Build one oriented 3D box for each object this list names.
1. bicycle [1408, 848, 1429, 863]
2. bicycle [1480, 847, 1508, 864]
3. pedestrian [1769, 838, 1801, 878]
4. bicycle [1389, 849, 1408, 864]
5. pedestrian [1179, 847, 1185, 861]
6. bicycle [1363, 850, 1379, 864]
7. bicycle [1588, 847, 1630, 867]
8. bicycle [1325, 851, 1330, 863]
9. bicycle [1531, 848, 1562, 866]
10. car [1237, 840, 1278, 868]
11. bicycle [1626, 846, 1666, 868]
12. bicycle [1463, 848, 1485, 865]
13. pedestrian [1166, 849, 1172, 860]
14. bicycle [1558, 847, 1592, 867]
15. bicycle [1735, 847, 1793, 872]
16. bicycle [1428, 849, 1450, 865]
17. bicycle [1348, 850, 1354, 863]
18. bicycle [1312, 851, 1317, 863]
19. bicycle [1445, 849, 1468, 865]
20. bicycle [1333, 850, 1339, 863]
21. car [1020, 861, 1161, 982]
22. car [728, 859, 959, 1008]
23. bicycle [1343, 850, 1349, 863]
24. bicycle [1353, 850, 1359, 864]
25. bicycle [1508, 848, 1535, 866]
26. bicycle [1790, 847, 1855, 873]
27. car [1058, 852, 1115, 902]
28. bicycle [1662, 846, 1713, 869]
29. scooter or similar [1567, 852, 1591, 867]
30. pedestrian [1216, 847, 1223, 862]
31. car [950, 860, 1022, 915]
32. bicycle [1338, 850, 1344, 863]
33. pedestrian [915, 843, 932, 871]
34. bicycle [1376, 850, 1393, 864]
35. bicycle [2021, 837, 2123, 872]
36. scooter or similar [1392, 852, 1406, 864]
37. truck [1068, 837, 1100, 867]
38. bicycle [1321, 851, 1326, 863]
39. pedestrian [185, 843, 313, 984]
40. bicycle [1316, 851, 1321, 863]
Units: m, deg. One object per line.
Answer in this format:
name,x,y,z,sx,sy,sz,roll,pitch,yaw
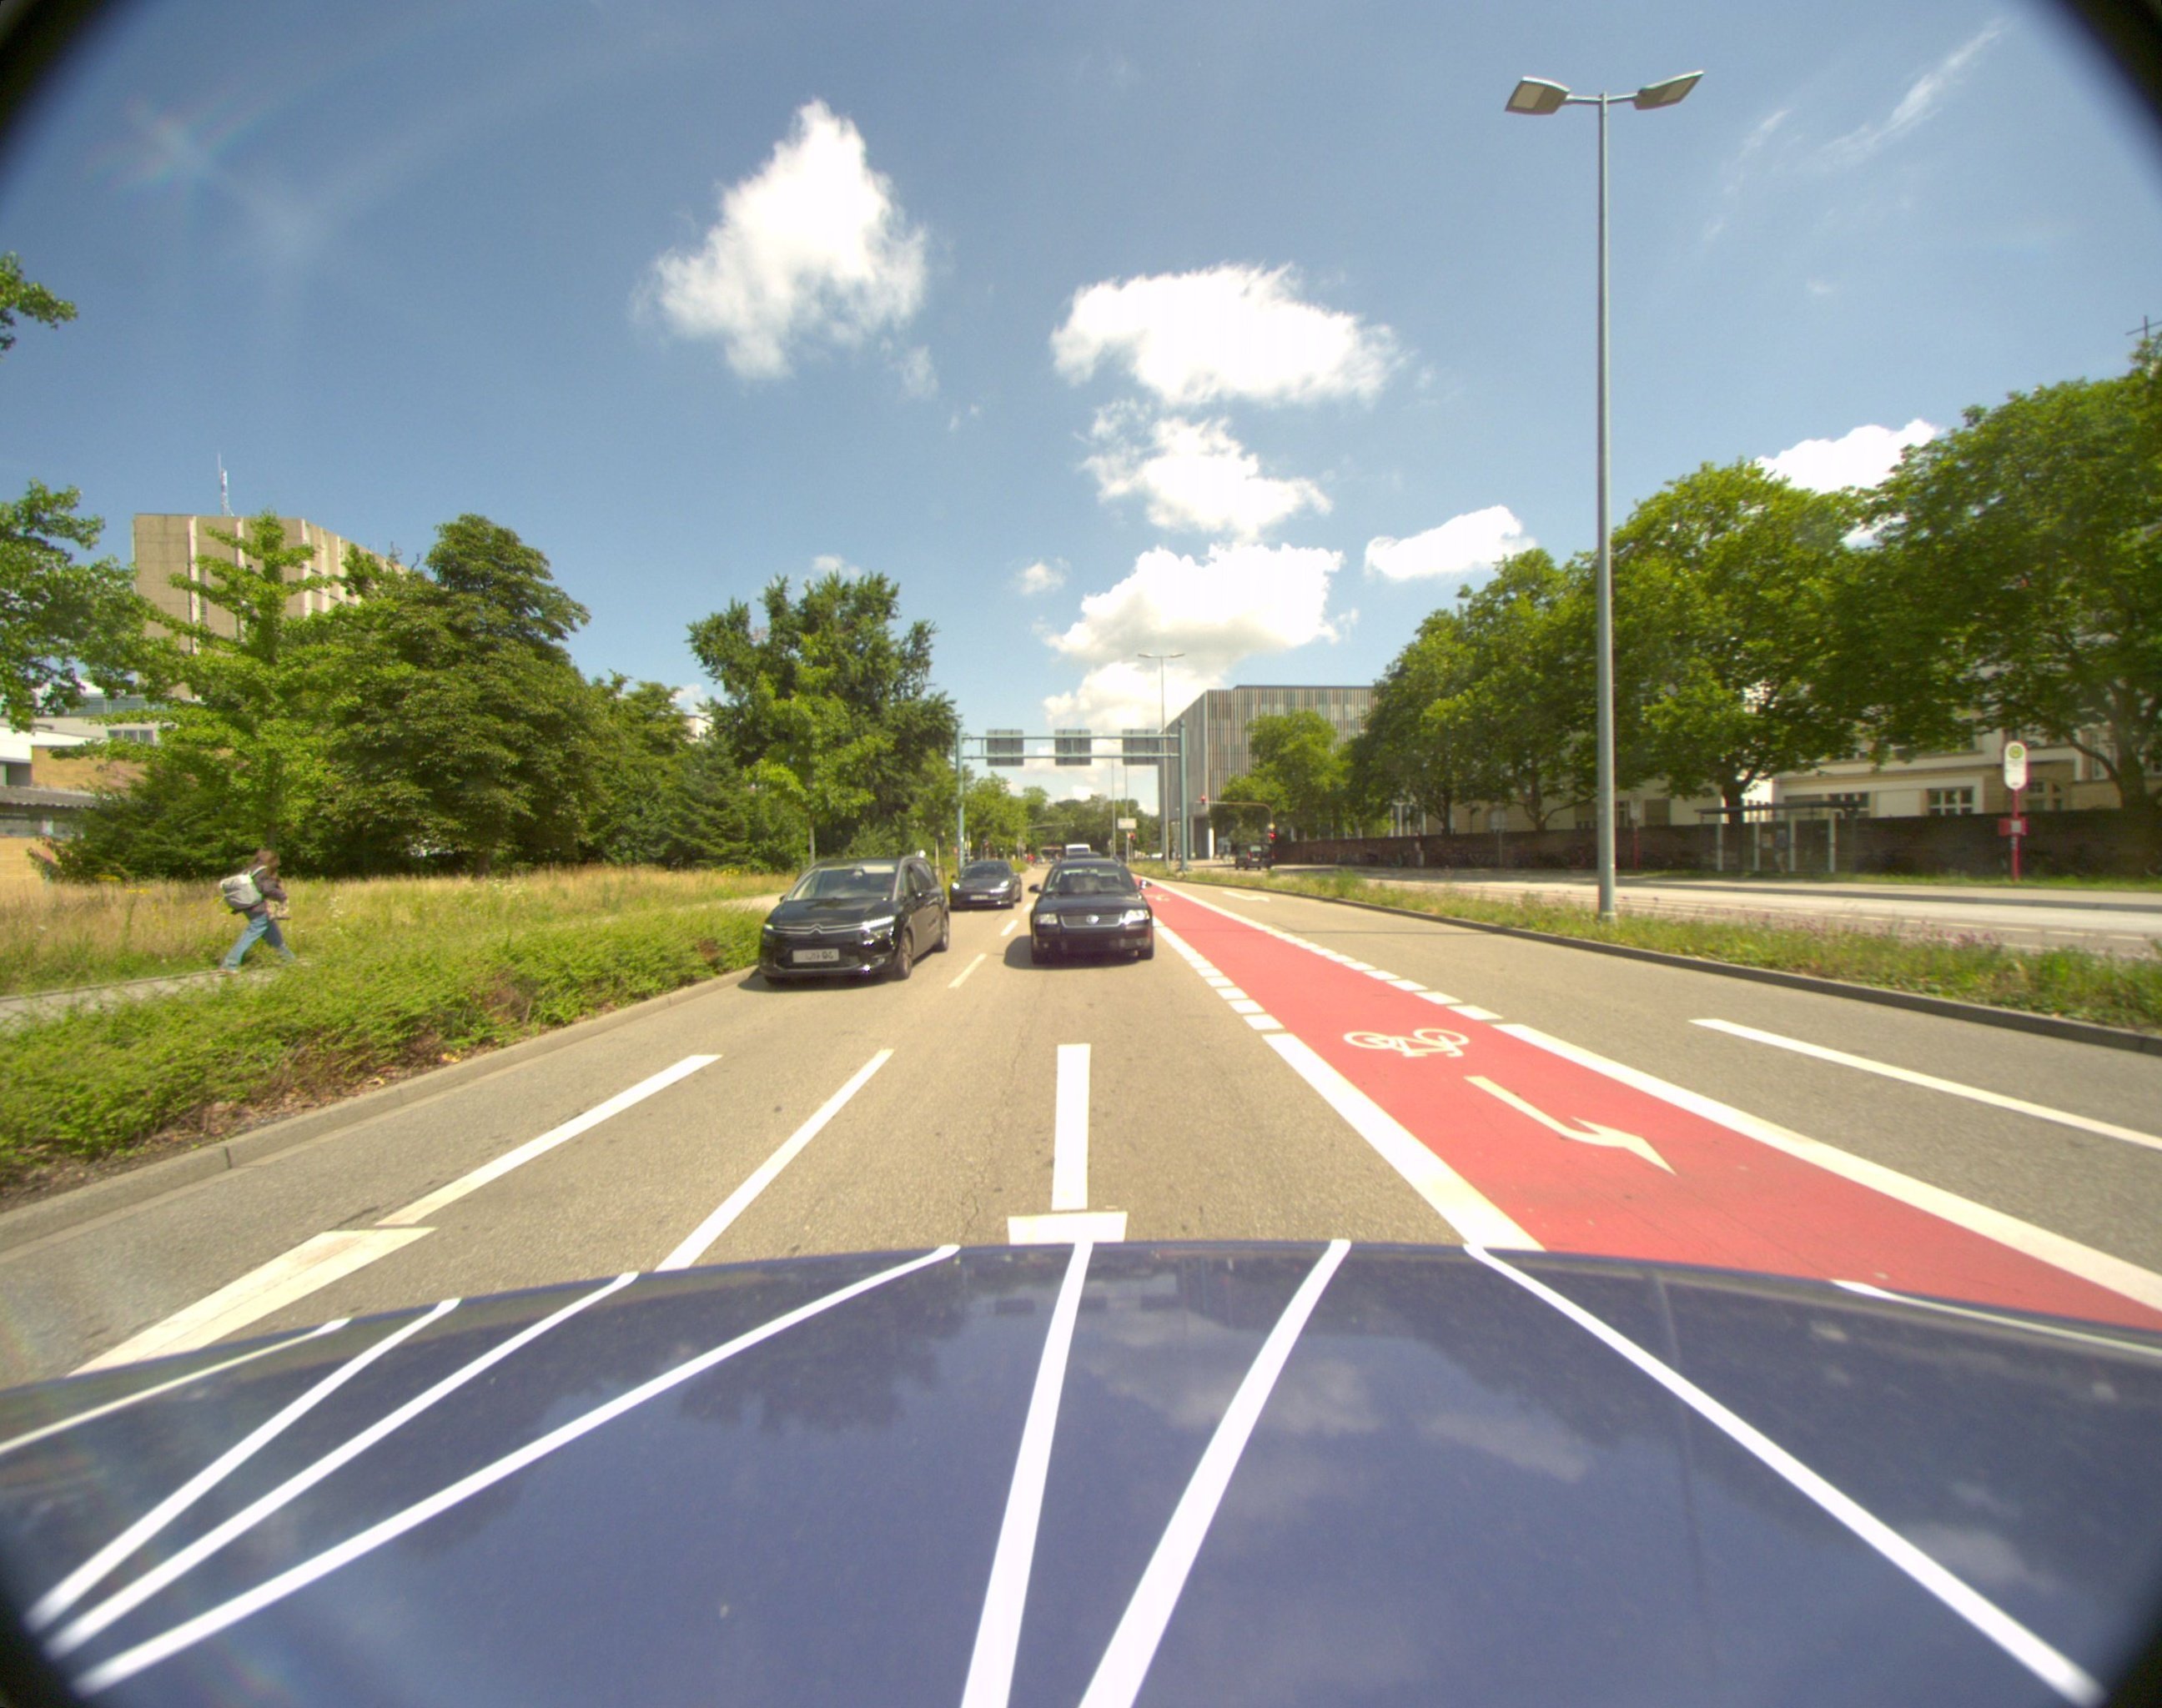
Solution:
bicycle,23.877,0.110,53.766,0.383,1.037,1.668,-1,1,-13
bicycle,25.556,0.103,47.069,0.398,1.037,1.759,-1,1,-15
pedestrian,28.889,0.149,31.195,0.724,1.602,0.779,-2,1,-30
bicycle,23.520,0.188,56.352,0.383,1.101,1.668,-1,1,-13
pedestrian,14.024,-0.017,105.882,0.632,1.907,0.718,-3,2,-4
bicycle,22.875,0.234,60.027,0.383,1.101,1.669,-1,1,-10
bicycle,27.589,0.148,39.733,0.398,1.037,1.955,-1,1,-17
bicycle,21.647,0.259,66.739,0.329,1.012,1.673,-1,1,21
bicycle,26.551,0.184,43.361,0.398,0.998,1.759,-1,1,-15
car,13.877,-0.025,60.113,2.214,2.158,4.520,0,0,0
bicycle,28.212,0.152,37.961,0.398,1.037,1.637,-1,1,-20
bicycle,25.145,0.142,48.648,0.378,1.037,1.415,-1,1,-15
pedestrian,14.970,0.125,129.065,0.715,1.906,0.807,-3,2,-6
bicycle,27.031,0.153,41.603,0.398,1.037,1.759,-1,1,-16
bicycle,29.809,0.232,33.193,0.398,1.037,1.954,-1,1,-20
bicycle,24.421,0.184,51.872,0.383,1.037,1.668,-1,1,-13
bicycle,22.226,0.203,62.552,0.382,1.101,1.673,-1,1,21
bicycle,21.236,0.273,69.105,0.329,1.012,1.673,-1,1,21
bicycle,24.790,0.166,50.205,0.383,1.037,1.668,-1,1,-13
bicycle,21.720,0.188,64.658,0.382,1.101,1.673,-1,1,21
car,0.138,0.907,12.156,1.751,1.426,4.520,-3,0,0
car,-3.140,0.945,11.147,1.863,1.613,4.520,-3,0,0
bicycle,22.109,0.195,63.411,0.382,1.101,1.673,-1,1,21
bicycle,22.376,0.210,61.798,0.382,1.101,1.673,-1,1,21
bicycle,26.107,0.151,45.038,0.398,1.037,1.581,-1,1,-15
bicycle,30.479,0.228,31.275,0.398,1.037,1.954,-1,1,-20
car,0.122,0.728,26.412,1.752,1.496,4.519,-3,0,-1
bicycle,28.852,0.165,36.169,0.398,1.037,1.954,-1,1,-20
scooter or similar,26.642,0.294,40.663,0.353,0.789,1.067,-2,1,-25
pedestrian,18.271,0.089,100.106,0.715,1.906,0.807,-3,2,-6
car,-2.813,0.950,23.325,1.766,1.409,4.362,-3,0,-2
bicycle,21.988,0.185,64.225,0.382,1.101,1.673,-1,1,21
pedestrian,-10.224,0.190,49.254,0.844,1.755,0.841,-2,2,-1
bicycle,23.174,0.215,58.018,0.383,1.101,1.668,-1,1,-11
bicycle,33.091,0.020,25.406,0.398,1.130,2.035,-2,1,-25
scooter or similar,23.047,0.306,55.112,0.353,0.838,1.068,-1,1,-14
truck,0.179,-0.133,64.102,2.462,2.287,5.814,-3,0,-1
bicycle,21.529,0.249,67.450,0.329,1.012,1.673,-1,1,21
pedestrian,-10.702,0.730,9.809,0.668,1.740,0.878,0,1,-1
bicycle,21.381,0.274,68.377,0.329,1.012,1.673,-1,1,21
